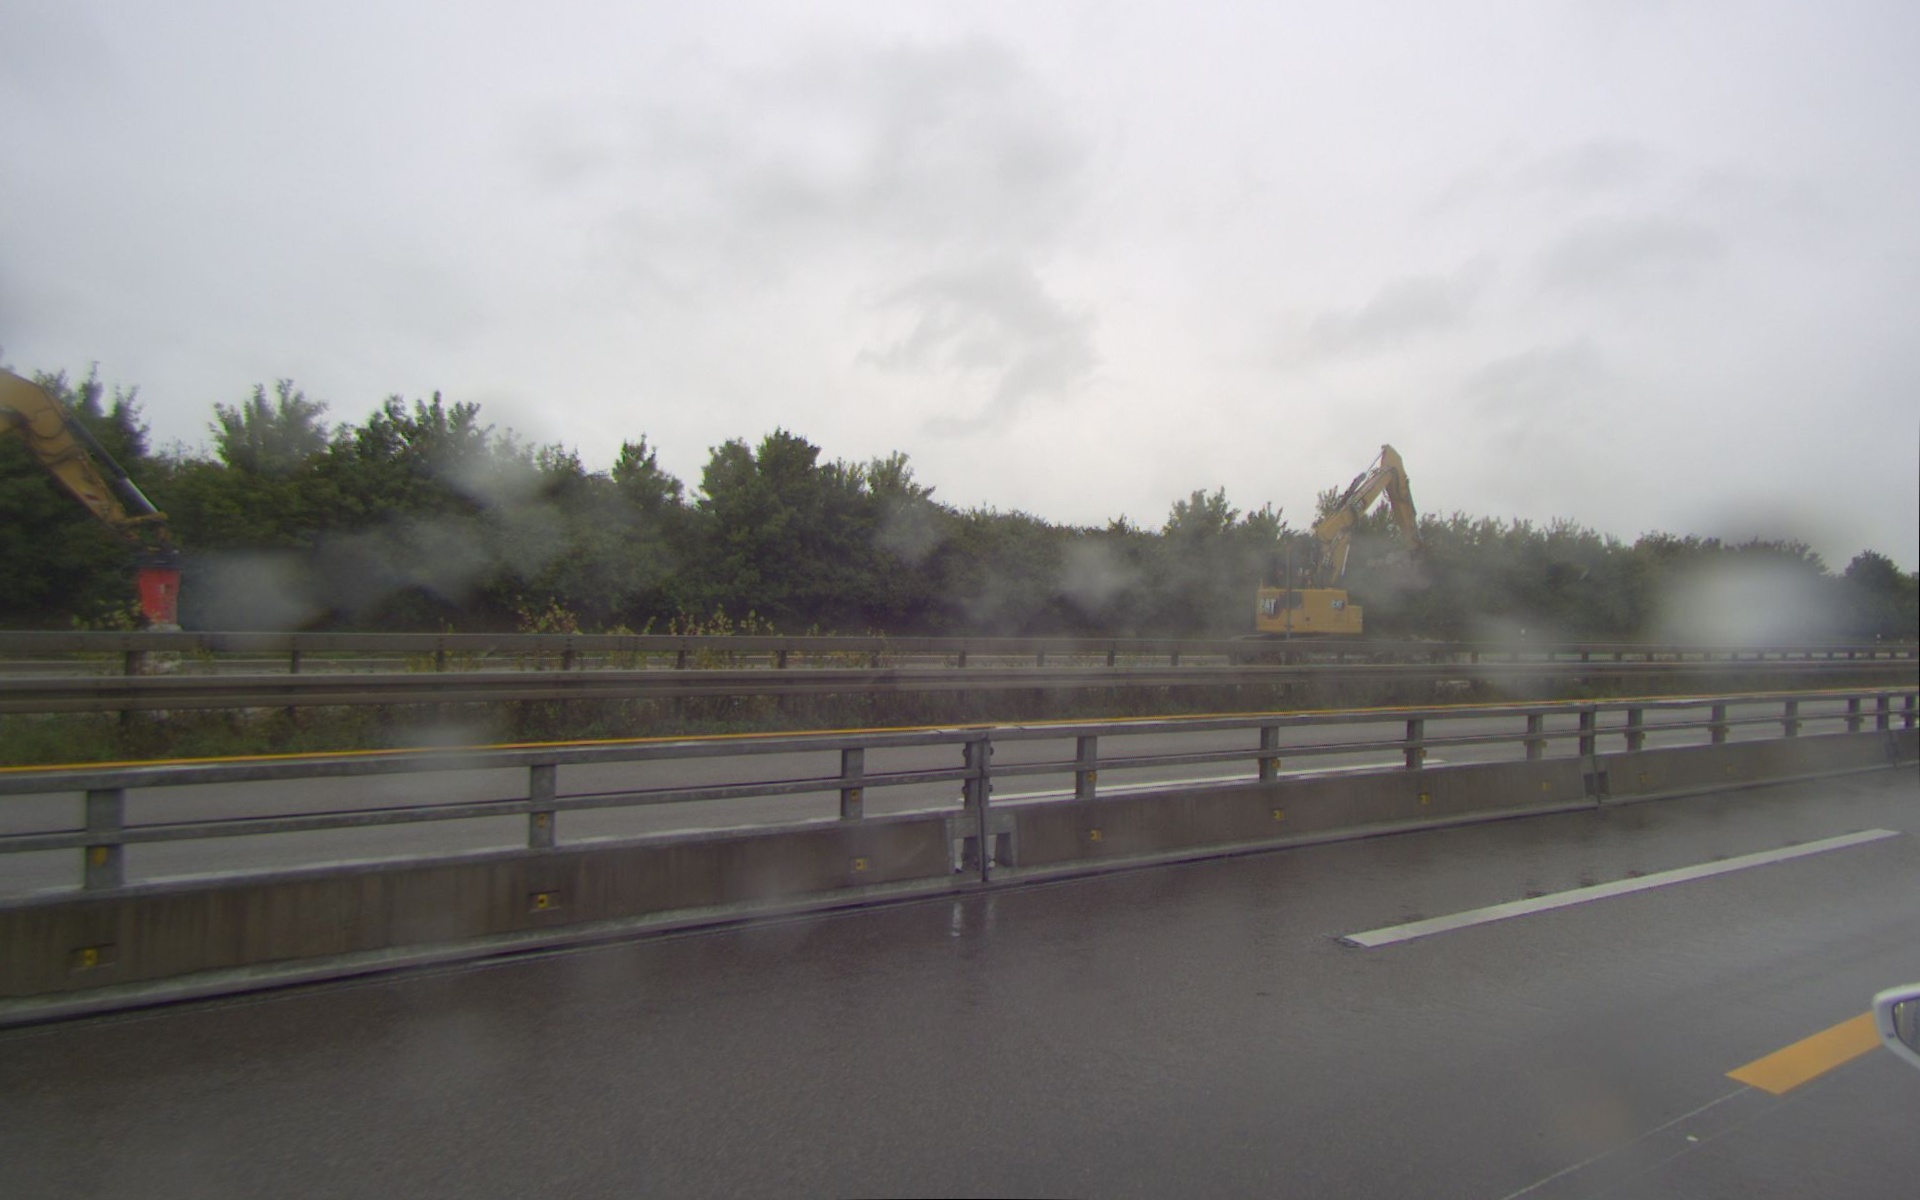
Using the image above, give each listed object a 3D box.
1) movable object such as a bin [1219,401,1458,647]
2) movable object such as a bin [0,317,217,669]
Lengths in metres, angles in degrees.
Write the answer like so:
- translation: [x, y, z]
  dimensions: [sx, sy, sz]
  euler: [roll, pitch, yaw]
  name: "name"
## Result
- translation: [14.225, -2.522, 37.661]
  dimensions: [8.203, 8.252, 3.582]
  euler: [2, 0, -28]
  name: "movable object such as a bin"
- translation: [-20.167, -1.970, 17.492]
  dimensions: [10.905, 5.994, 4.155]
  euler: [2, 0, -28]
  name: "movable object such as a bin"
